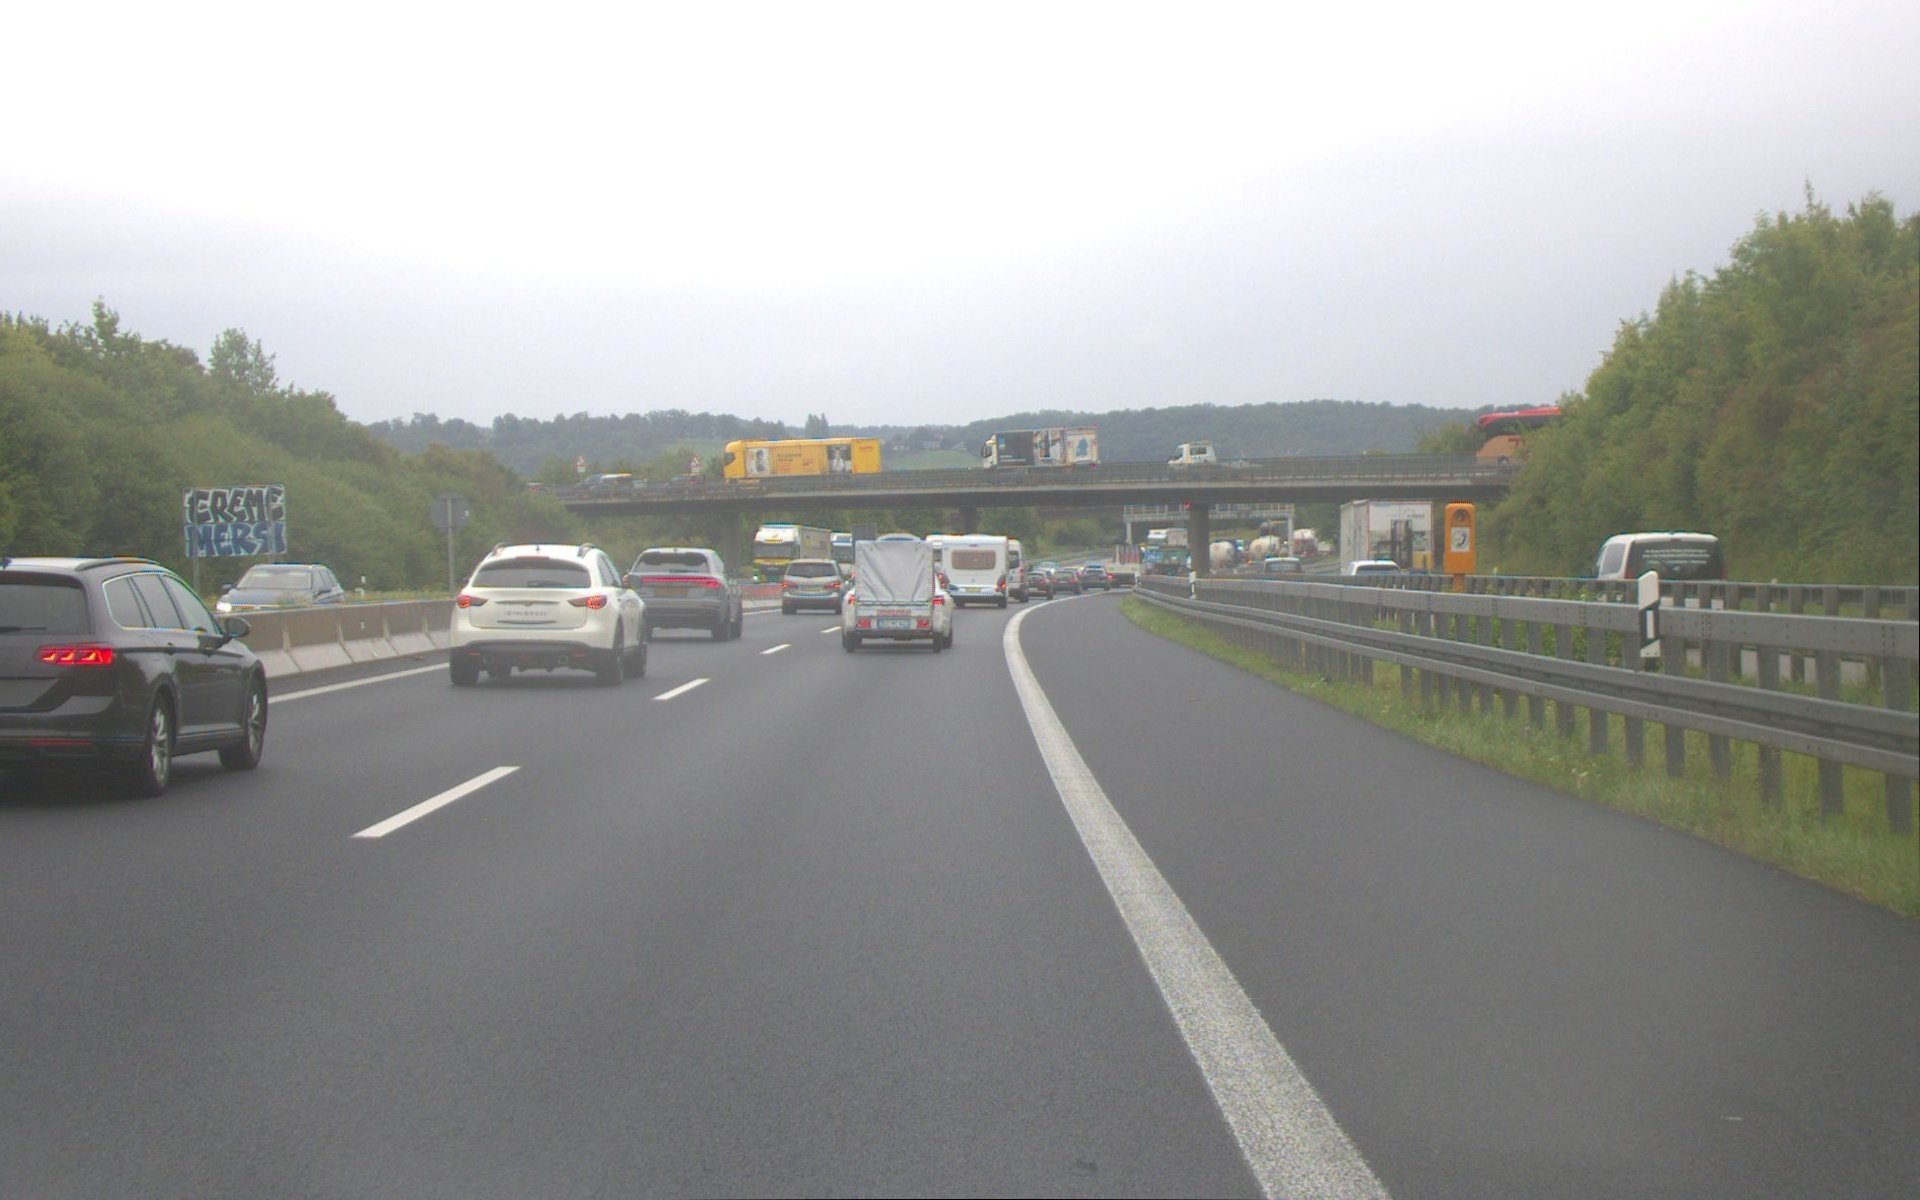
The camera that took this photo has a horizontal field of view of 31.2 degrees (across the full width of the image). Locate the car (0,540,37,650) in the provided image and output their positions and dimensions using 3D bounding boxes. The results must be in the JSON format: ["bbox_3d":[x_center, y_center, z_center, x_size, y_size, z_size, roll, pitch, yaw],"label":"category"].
[{"bbox_3d":[-14.126,-0.052,46.661,1.982,1.501,4.638,0,1,-1],"label":"car"}]

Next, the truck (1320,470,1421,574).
[{"bbox_3d":[17.521,-3.336,147.514,3.437,4.274,10.418,0,1,2],"label":"truck"}]

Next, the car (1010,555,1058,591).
[{"bbox_3d":[3.590,-1.339,168.304,1.993,1.744,4.001,1,1,-4],"label":"car"}]

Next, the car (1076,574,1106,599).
[{"bbox_3d":[9.211,-0.969,242.023,1.993,1.744,4.000,1,1,1],"label":"car"}]

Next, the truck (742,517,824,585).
[{"bbox_3d":[-10.629,-2.960,207.755,3.766,3.978,13.186,0,1,2],"label":"truck"}]

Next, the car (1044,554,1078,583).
[{"bbox_3d":[6.178,-1.920,210.282,1.993,1.744,4.000,1,1,0],"label":"car"}]

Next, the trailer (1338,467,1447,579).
[{"bbox_3d":[17.149,-3.066,137.077,3.437,4.274,10.454,0,1,2],"label":"trailer"}]

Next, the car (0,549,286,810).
[{"bbox_3d":[-5.726,0.439,22.129,1.900,1.492,4.852,0,0,-1],"label":"car"}]

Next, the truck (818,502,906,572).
[{"bbox_3d":[-5.053,-3.302,180.861,3.766,3.542,13.186,0,1,2],"label":"truck"}]

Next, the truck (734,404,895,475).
[{"bbox_3d":[-10.938,-11.877,255.854,3.767,4.819,15.241,-1,1,-38],"label":"truck"}]

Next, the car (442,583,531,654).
[{"bbox_3d":[-13.182,0.493,95.902,1.993,1.895,4.173,1,1,-2],"label":"car"}]

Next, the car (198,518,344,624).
[{"bbox_3d":[-12.844,-0.559,64.323,1.993,1.895,4.173,1,1,-2],"label":"car"}]

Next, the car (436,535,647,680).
[{"bbox_3d":[-4.933,0.046,41.071,1.976,1.633,4.501,0,1,0],"label":"car"}]

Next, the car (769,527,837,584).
[{"bbox_3d":[-4.525,-1.301,99.526,1.900,1.607,4.017,0,1,-2],"label":"car"}]

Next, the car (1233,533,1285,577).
[{"bbox_3d":[12.459,-1.899,143.568,1.860,1.799,4.648,0,1,1],"label":"car"}]

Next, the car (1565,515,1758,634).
[{"bbox_3d":[11.150,-0.424,54.919,2.007,1.808,4.277,0,1,-3],"label":"car"}]

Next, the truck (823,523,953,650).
[{"bbox_3d":[-1.162,-0.281,57.522,2.019,1.979,7.213,0,1,-1],"label":"truck"}]

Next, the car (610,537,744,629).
[{"bbox_3d":[-5.196,-0.338,63.653,2.174,1.626,4.501,0,1,-1],"label":"car"}]

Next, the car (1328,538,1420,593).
[{"bbox_3d":[11.860,-1.013,98.753,2.008,1.543,4.696,0,1,-1],"label":"car"}]

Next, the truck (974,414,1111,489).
[{"bbox_3d":[5.572,-10.031,233.492,3.767,4.819,10.041,-1,1,-38],"label":"truck"}]

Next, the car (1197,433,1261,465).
[{"bbox_3d":[17.107,-9.579,218.776,1.838,1.908,3.999,0,1,-39],"label":"car"}]

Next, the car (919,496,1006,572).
[{"bbox_3d":[0.125,-2.362,122.443,3.017,2.607,6.075,0,1,1],"label":"car"}]
